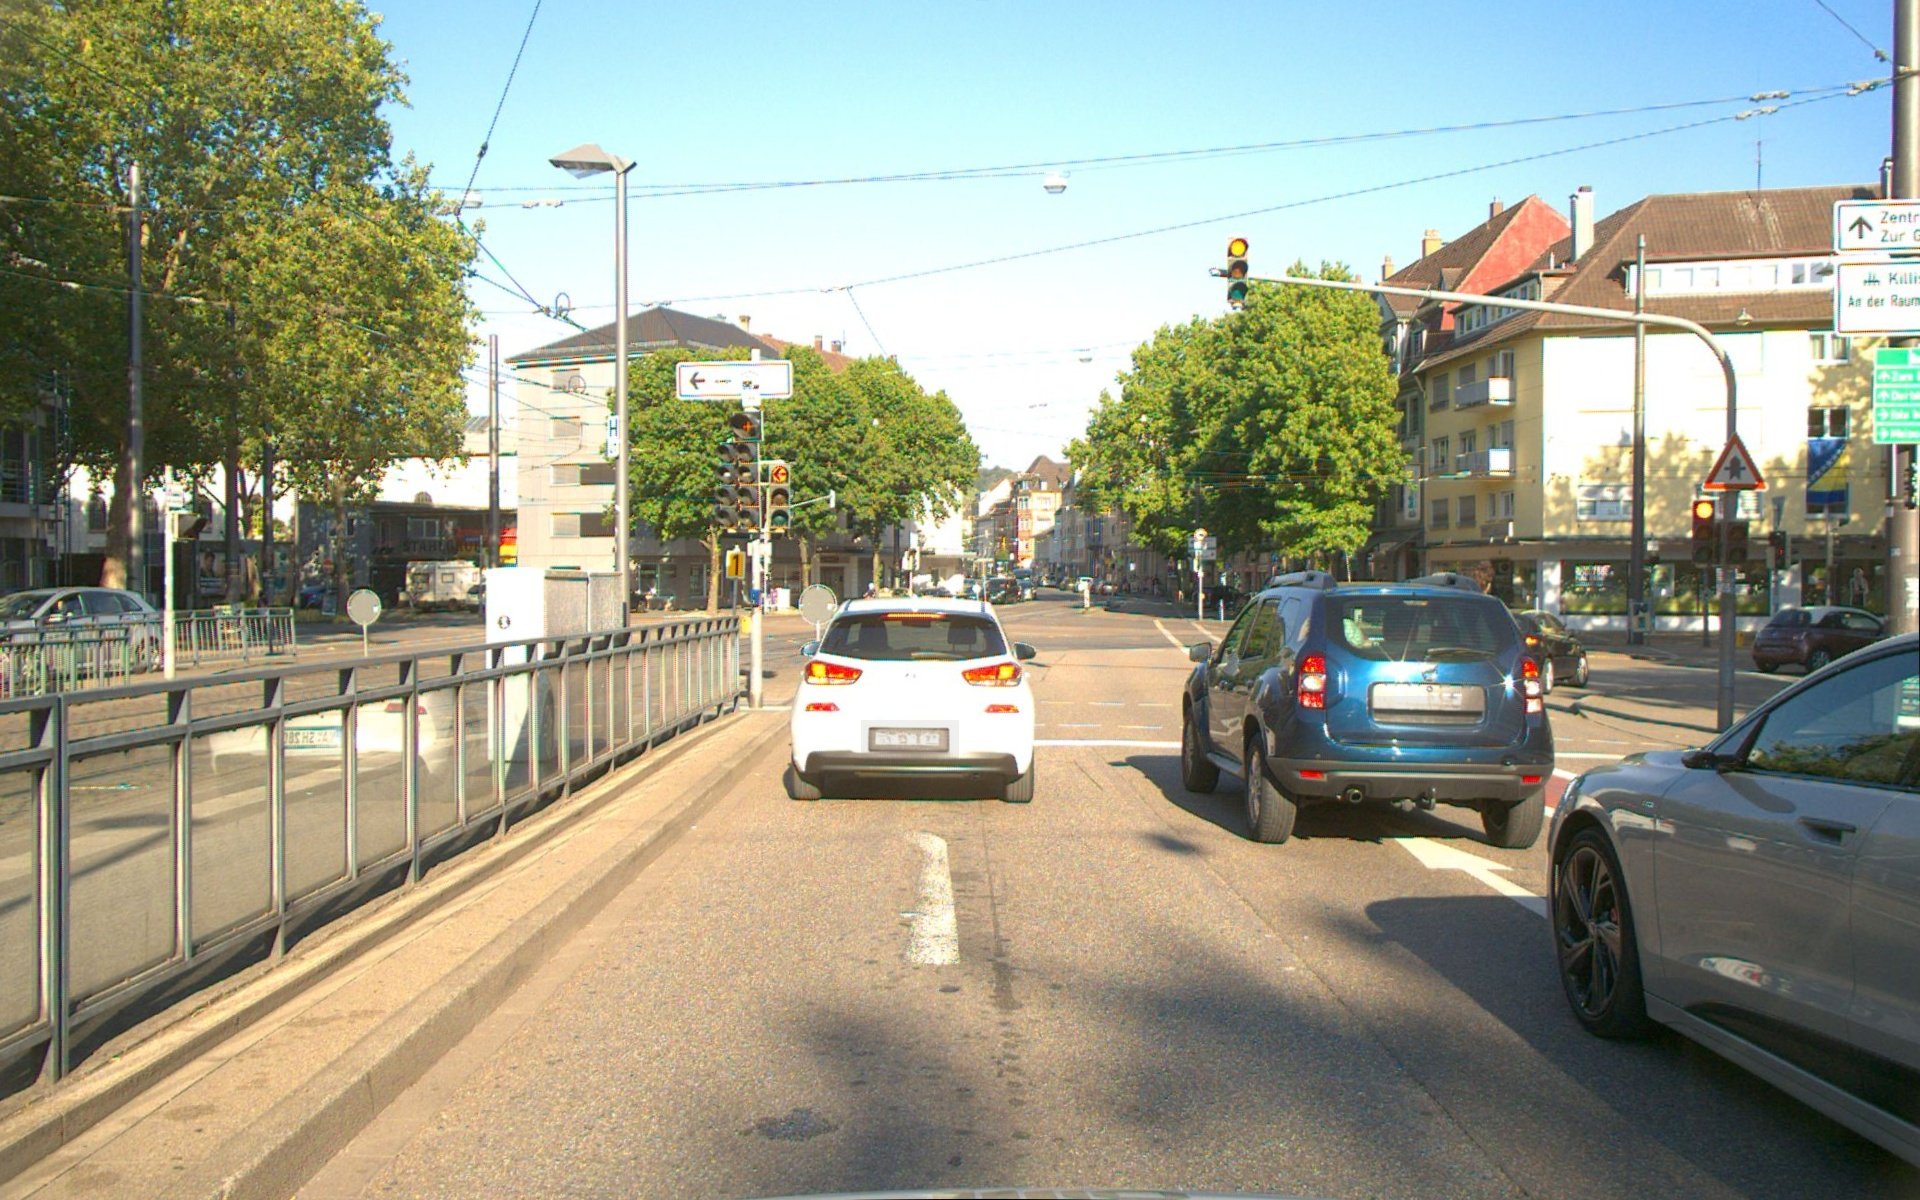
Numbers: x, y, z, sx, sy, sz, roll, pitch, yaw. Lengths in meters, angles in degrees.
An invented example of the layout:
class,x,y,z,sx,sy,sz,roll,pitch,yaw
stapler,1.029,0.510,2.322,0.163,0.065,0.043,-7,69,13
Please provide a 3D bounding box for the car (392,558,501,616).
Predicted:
class,x,y,z,sx,sy,sz,roll,pitch,yaw
car,-29.508,-0.743,95.305,2.445,3.220,6.535,0,0,22

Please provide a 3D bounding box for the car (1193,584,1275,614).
class,x,y,z,sx,sy,sz,roll,pitch,yaw
car,14.261,-0.041,86.111,3.911,1.537,1.798,0,0,-7

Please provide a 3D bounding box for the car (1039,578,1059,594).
class,x,y,z,sx,sy,sz,roll,pitch,yaw
car,11.536,-1.760,214.776,2.280,2.049,4.975,0,0,-1

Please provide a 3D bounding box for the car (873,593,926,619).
class,x,y,z,sx,sy,sz,roll,pitch,yaw
car,-3.658,0.384,99.891,1.689,1.537,3.874,0,0,24

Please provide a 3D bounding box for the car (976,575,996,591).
class,x,y,z,sx,sy,sz,roll,pitch,yaw
car,2.517,-1.602,158.988,1.758,1.537,3.999,0,0,-2

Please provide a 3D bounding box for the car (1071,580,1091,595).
class,x,y,z,sx,sy,sz,roll,pitch,yaw
car,12.449,-1.248,170.530,1.758,1.537,3.999,0,0,-1

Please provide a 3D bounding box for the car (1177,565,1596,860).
class,x,y,z,sx,sy,sz,roll,pitch,yaw
car,2.687,0.628,11.403,1.764,1.666,4.044,1,0,-1

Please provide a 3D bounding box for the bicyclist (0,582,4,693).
class,x,y,z,sx,sy,sz,roll,pitch,yaw
bicyclist,-12.887,0.482,21.493,0.792,1.439,0.521,0,0,-32

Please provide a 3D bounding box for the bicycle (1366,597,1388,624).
class,x,y,z,sx,sy,sz,roll,pitch,yaw
bicycle,17.501,0.439,69.457,0.596,1.127,1.801,0,0,4

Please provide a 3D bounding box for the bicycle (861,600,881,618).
class,x,y,z,sx,sy,sz,roll,pitch,yaw
bicycle,-5.120,0.517,95.499,0.458,0.973,1.767,0,0,22

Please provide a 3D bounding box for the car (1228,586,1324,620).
class,x,y,z,sx,sy,sz,roll,pitch,yaw
car,14.394,0.123,75.419,3.913,1.537,1.796,0,0,-9

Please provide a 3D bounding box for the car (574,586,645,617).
class,x,y,z,sx,sy,sz,roll,pitch,yaw
car,-19.215,0.058,90.822,1.881,1.677,4.181,0,0,20

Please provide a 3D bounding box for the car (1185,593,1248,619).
class,x,y,z,sx,sy,sz,roll,pitch,yaw
car,15.534,0.352,100.082,3.967,1.537,1.772,0,0,-43

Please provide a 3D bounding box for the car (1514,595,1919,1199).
class,x,y,z,sx,sy,sz,roll,pitch,yaw
car,3.204,0.753,4.238,1.890,1.498,4.854,1,0,-1

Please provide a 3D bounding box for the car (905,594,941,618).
class,x,y,z,sx,sy,sz,roll,pitch,yaw
car,-2.354,0.381,105.899,1.756,1.537,4.003,0,0,6

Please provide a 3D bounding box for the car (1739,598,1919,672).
class,x,y,z,sx,sy,sz,roll,pitch,yaw
car,19.655,0.760,36.819,3.919,1.536,1.794,0,1,-14

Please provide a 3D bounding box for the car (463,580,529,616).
class,x,y,z,sx,sy,sz,roll,pitch,yaw
car,-26.430,-0.110,94.350,1.756,1.990,4.002,0,0,18

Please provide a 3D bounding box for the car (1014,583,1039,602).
class,x,y,z,sx,sy,sz,roll,pitch,yaw
car,5.477,-0.643,136.115,1.758,1.537,3.999,0,0,-2

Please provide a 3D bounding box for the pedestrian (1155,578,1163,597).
class,x,y,z,sx,sy,sz,roll,pitch,yaw
pedestrian,17.974,-1.158,149.241,0.634,1.680,0.651,1,-1,10

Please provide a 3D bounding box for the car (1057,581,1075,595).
class,x,y,z,sx,sy,sz,roll,pitch,yaw
car,12.138,-1.368,189.764,1.758,1.549,3.999,0,0,-1

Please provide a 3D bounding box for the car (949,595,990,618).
class,x,y,z,sx,sy,sz,roll,pitch,yaw
car,0.670,0.460,113.998,1.756,1.537,4.002,0,0,18

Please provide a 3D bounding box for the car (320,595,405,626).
class,x,y,z,sx,sy,sz,roll,pitch,yaw
car,-30.894,0.542,85.476,3.904,1.537,1.800,0,0,20

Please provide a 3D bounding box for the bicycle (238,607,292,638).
class,x,y,z,sx,sy,sz,roll,pitch,yaw
bicycle,-25.231,0.822,60.029,1.757,1.127,0.500,0,0,2

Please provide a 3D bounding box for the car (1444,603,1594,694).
class,x,y,z,sx,sy,sz,roll,pitch,yaw
car,10.287,0.832,30.271,1.767,1.464,4.036,2,1,31

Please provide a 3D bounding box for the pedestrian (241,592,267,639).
class,x,y,z,sx,sy,sz,roll,pitch,yaw
pedestrian,-25.394,0.543,59.500,0.634,1.690,0.650,0,0,2

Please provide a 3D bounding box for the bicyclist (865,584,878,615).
class,x,y,z,sx,sy,sz,roll,pitch,yaw
bicyclist,-5.117,-0.042,95.501,0.458,1.776,0.717,0,0,22

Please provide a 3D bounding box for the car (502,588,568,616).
class,x,y,z,sx,sy,sz,roll,pitch,yaw
car,-23.970,0.091,93.482,1.756,1.537,4.012,0,0,18

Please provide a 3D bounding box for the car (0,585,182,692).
class,x,y,z,sx,sy,sz,roll,pitch,yaw
car,-15.853,0.611,28.909,1.777,1.722,4.163,1,0,16

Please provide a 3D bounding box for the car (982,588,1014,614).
class,x,y,z,sx,sy,sz,roll,pitch,yaw
car,2.823,0.085,121.462,1.756,1.858,4.004,0,0,9

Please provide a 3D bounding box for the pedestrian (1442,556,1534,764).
class,x,y,z,sx,sy,sz,roll,pitch,yaw
pedestrian,4.941,0.547,15.501,0.643,1.904,0.677,0,0,-1

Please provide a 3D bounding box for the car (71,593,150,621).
class,x,y,z,sx,sy,sz,roll,pitch,yaw
car,-47.954,0.398,93.374,3.904,1.537,1.800,0,0,20

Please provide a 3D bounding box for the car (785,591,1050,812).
class,x,y,z,sx,sy,sz,roll,pitch,yaw
car,-0.327,0.683,13.214,1.771,1.478,3.999,1,0,-1

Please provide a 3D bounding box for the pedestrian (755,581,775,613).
class,x,y,z,sx,sy,sz,roll,pitch,yaw
pedestrian,-10.955,-0.186,92.798,0.820,1.802,0.782,0,0,25

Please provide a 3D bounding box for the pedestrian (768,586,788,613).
class,x,y,z,sx,sy,sz,roll,pitch,yaw
pedestrian,-10.338,-0.030,94.049,0.786,1.510,0.861,0,0,25

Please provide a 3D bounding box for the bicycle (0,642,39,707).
class,x,y,z,sx,sy,sz,roll,pitch,yaw
bicycle,-12.889,0.976,21.492,1.596,0.830,0.521,0,0,-32

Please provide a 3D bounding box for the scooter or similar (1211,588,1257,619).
class,x,y,z,sx,sy,sz,roll,pitch,yaw
scooter or similar,11.500,0.137,69.355,1.915,1.303,0.550,0,0,41

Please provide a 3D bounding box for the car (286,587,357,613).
class,x,y,z,sx,sy,sz,roll,pitch,yaw
car,-38.580,-0.004,100.012,1.758,1.537,3.999,0,0,23

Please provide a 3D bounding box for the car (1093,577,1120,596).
class,x,y,z,sx,sy,sz,roll,pitch,yaw
car,13.958,-1.293,157.862,2.062,1.807,4.340,0,0,-1

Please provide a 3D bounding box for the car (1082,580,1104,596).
class,x,y,z,sx,sy,sz,roll,pitch,yaw
car,13.190,-1.194,164.380,1.758,1.537,3.999,0,0,-1

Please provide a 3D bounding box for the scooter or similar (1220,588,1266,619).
class,x,y,z,sx,sy,sz,roll,pitch,yaw
scooter or similar,11.949,0.151,69.911,1.915,1.303,0.550,0,0,41

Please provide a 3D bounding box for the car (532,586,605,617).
class,x,y,z,sx,sy,sz,roll,pitch,yaw
car,-21.629,0.059,91.497,1.760,1.677,4.004,0,0,28

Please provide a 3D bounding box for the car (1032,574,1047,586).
class,x,y,z,sx,sy,sz,roll,pitch,yaw
car,10.542,-2.642,220.135,1.758,1.537,3.999,0,0,-1
